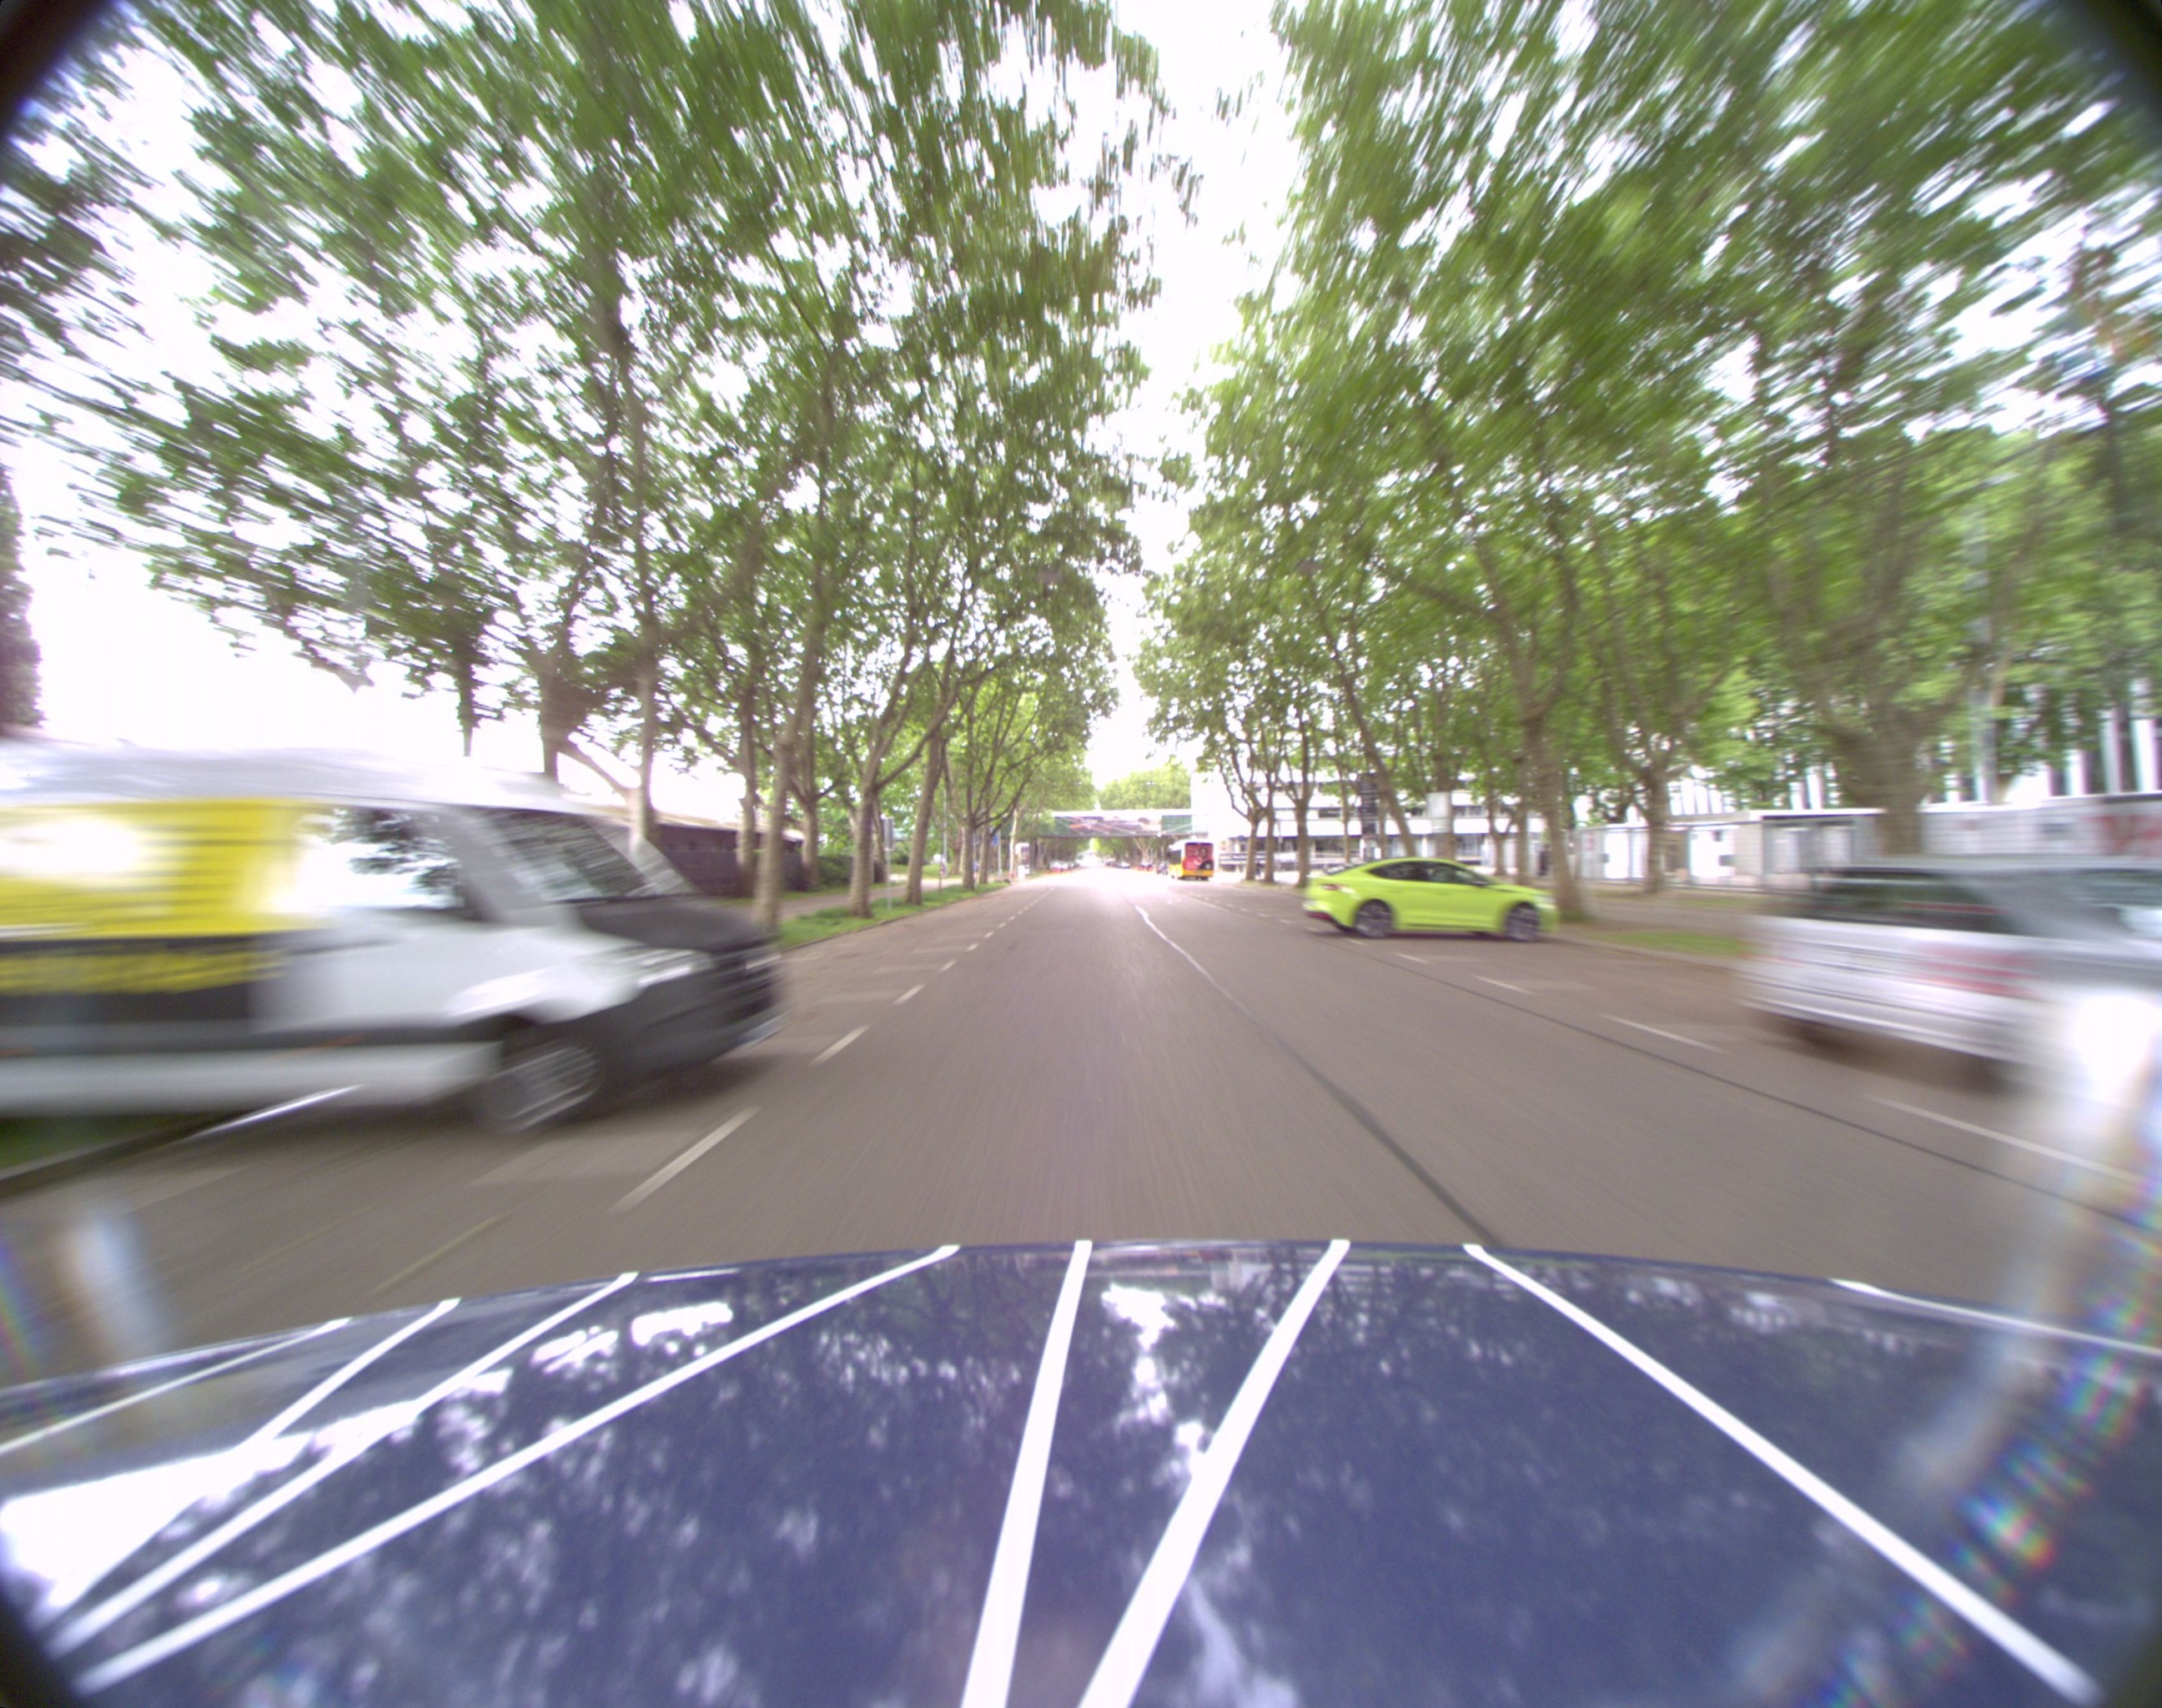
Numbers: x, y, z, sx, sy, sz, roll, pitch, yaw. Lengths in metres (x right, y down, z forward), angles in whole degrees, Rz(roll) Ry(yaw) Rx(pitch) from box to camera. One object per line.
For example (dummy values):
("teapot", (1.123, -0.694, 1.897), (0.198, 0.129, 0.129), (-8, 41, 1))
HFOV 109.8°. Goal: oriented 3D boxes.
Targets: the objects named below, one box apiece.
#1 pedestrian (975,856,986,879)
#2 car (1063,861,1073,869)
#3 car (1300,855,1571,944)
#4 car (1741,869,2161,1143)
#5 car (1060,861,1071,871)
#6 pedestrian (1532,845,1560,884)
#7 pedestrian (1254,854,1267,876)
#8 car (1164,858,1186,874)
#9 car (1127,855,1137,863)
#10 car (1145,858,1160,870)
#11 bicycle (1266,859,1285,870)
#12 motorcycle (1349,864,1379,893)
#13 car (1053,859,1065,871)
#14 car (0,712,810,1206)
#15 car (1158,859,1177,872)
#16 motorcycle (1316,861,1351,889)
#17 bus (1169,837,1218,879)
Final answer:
("pedestrian", (-9.207, 1.236, 69.770), (0.710, 2.002, 0.882), (-2, 0, 10))
("car", (-2.615, 2.257, 154.822), (1.921, 1.561, 4.497), (-1, 0, -1))
("car", (6.846, 0.858, 15.059), (4.526, 1.608, 1.758), (-1, 0, 3))
("car", (7.459, 0.931, 5.404), (4.117, 1.559, 1.757), (1, 0, -4))
("car", (-2.712, 2.087, 132.446), (1.921, 1.561, 4.497), (-1, 0, -1))
("pedestrian", (21.724, 0.489, 35.529), (0.706, 1.743, 0.874), (-2, 0, 0))
("pedestrian", (13.111, 0.774, 55.450), (0.663, 1.580, 0.912), (-2, 0, 0))
("car", (10.047, 1.235, 81.611), (1.758, 1.557, 4.387), (3, 0, -1))
("car", (10.287, 0.990, 153.142), (1.757, 1.652, 4.000), (-2, 0, 1))
("car", (11.128, 1.593, 119.134), (1.929, 1.720, 4.234), (3, 0, 0))
("bicycle", (21.738, 1.130, 84.888), (1.918, 1.180, 0.569), (-2, 0, -2))
("motorcycle", (12.216, 1.045, 32.855), (0.574, 1.151, 2.077), (-2, 0, 2))
("car", (-3.404, 1.667, 116.000), (1.757, 1.687, 4.497), (-1, 0, -1))
("car", (-5.804, 0.655, 5.386), (6.899, 2.679, 2.127), (-2, 0, -1))
("car", (10.232, 1.350, 90.235), (1.758, 1.505, 4.009), (3, 0, 0))
("motorcycle", (11.108, 0.919, 33.352), (0.573, 1.151, 2.081), (-2, 0, 44))
("bus", (9.275, 0.326, 64.069), (2.658, 3.136, 12.370), (2, 0, 2))
